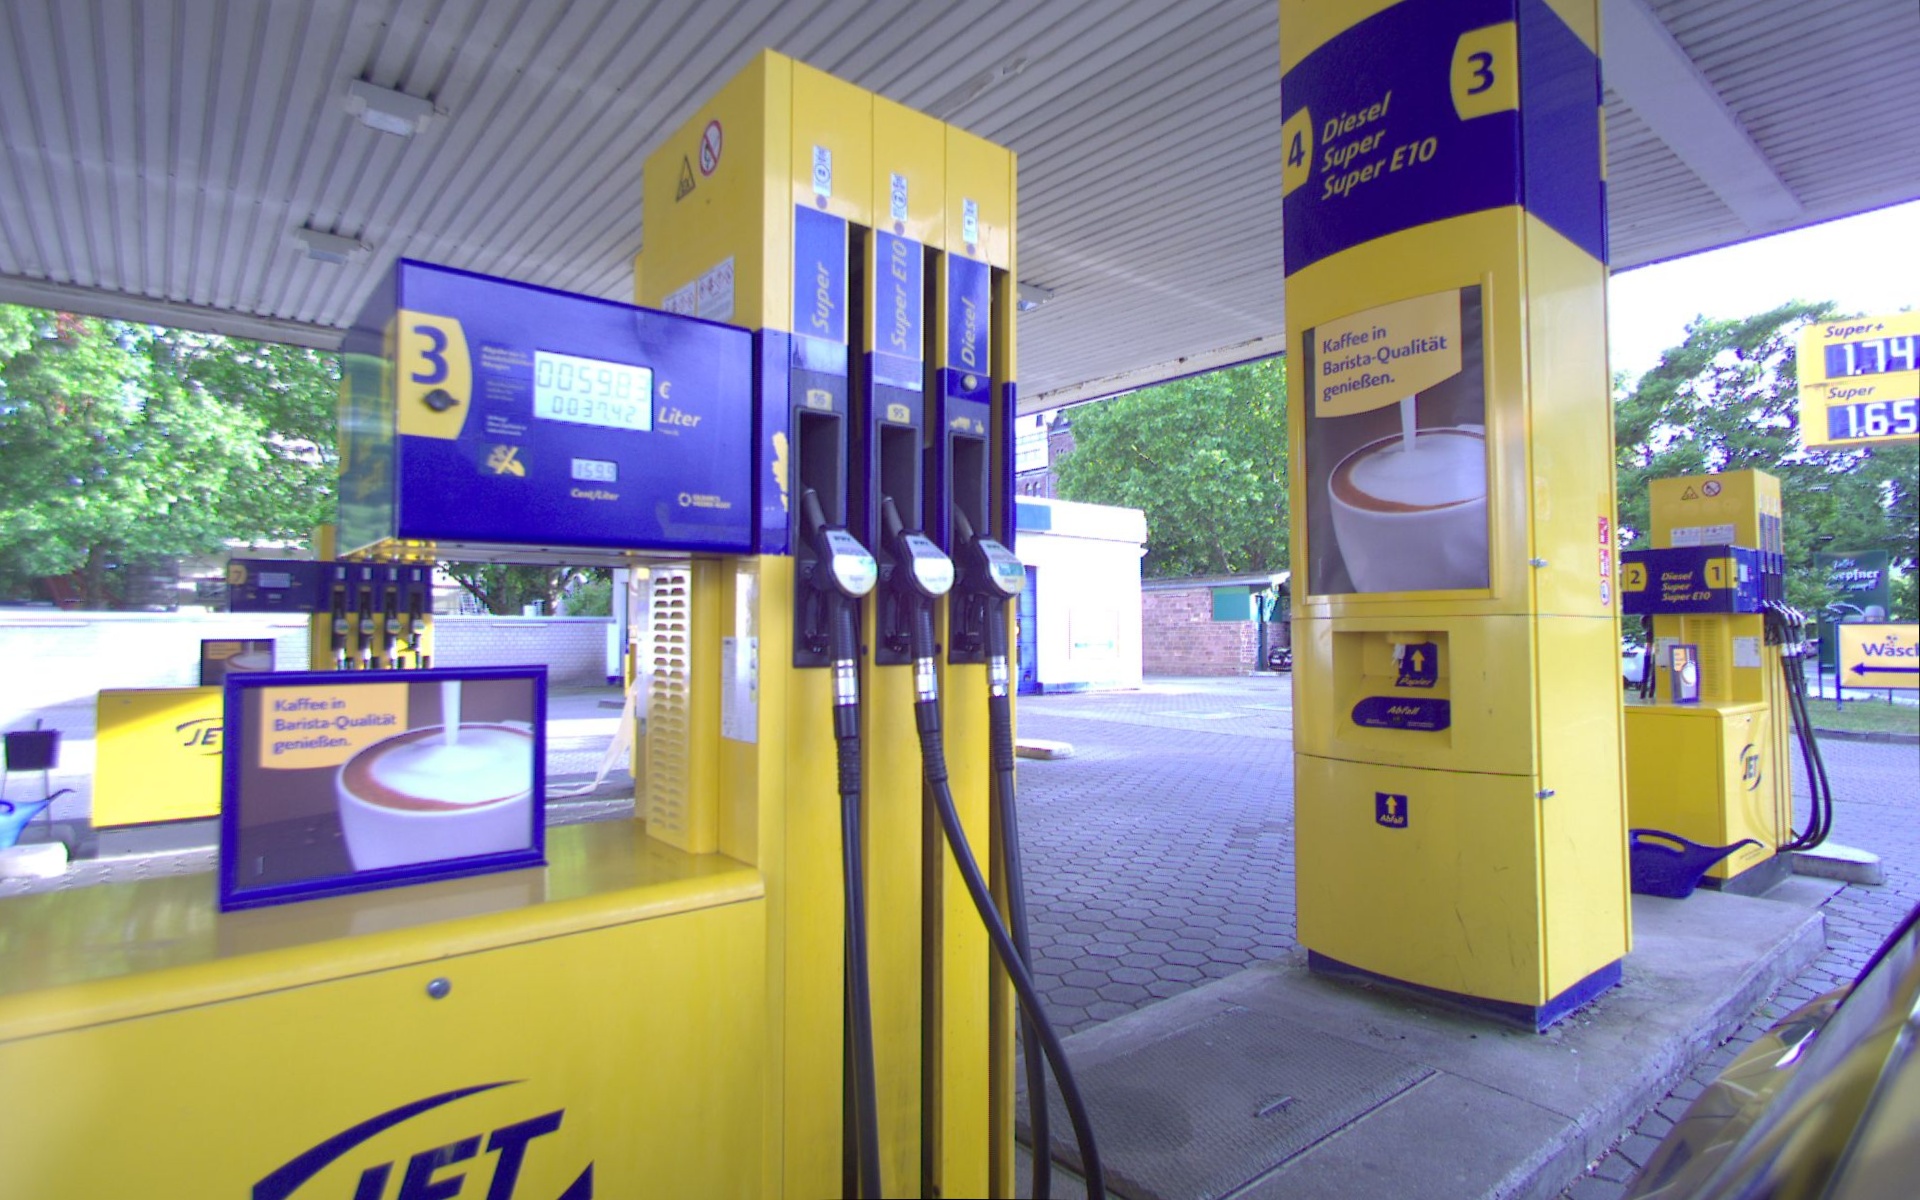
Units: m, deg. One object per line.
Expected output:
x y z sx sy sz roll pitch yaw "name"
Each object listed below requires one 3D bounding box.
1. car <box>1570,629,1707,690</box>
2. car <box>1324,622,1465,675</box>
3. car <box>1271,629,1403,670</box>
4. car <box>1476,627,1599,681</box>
18.231 1.565 27.166 3.923 1.529 1.740 2 -3 -35 "car"
13.800 1.551 32.153 4.134 1.544 1.791 2 -3 -24 "car"
12.841 1.703 34.502 4.134 1.294 1.751 2 -3 -22 "car"
17.566 1.644 30.754 3.923 1.529 1.740 3 -3 -35 "car"
